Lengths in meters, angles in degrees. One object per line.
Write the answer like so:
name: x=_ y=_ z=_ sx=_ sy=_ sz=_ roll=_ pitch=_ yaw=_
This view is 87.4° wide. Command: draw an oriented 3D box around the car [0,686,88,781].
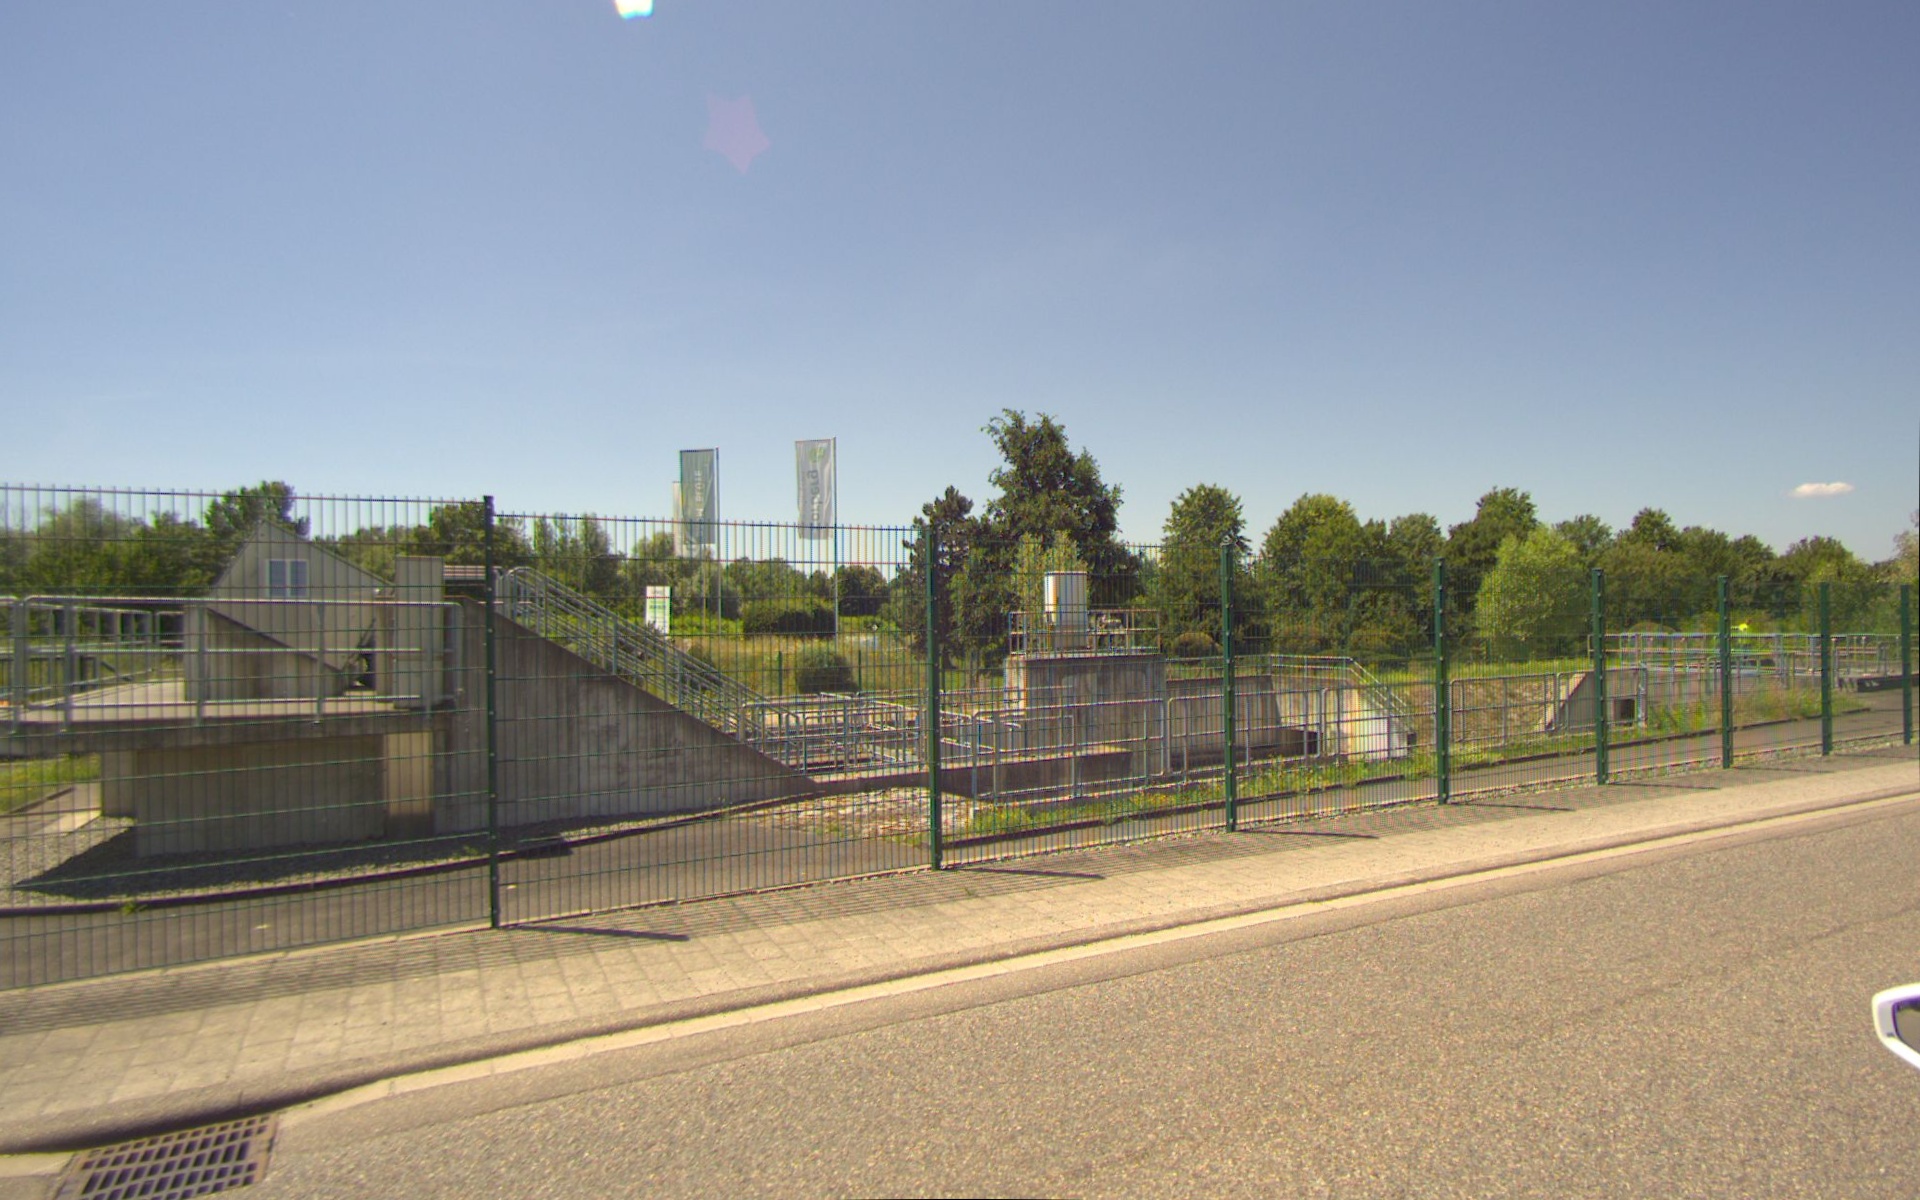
car: x=-22.936 y=3.015 z=22.447 sx=4.777 sy=2.039 sz=1.997 roll=0 pitch=-4 yaw=-12

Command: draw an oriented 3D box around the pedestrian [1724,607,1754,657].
pedestrian: x=29.230 y=1.204 z=37.701 sx=0.795 sy=1.863 sz=0.603 roll=1 pitch=-2 yaw=-31
